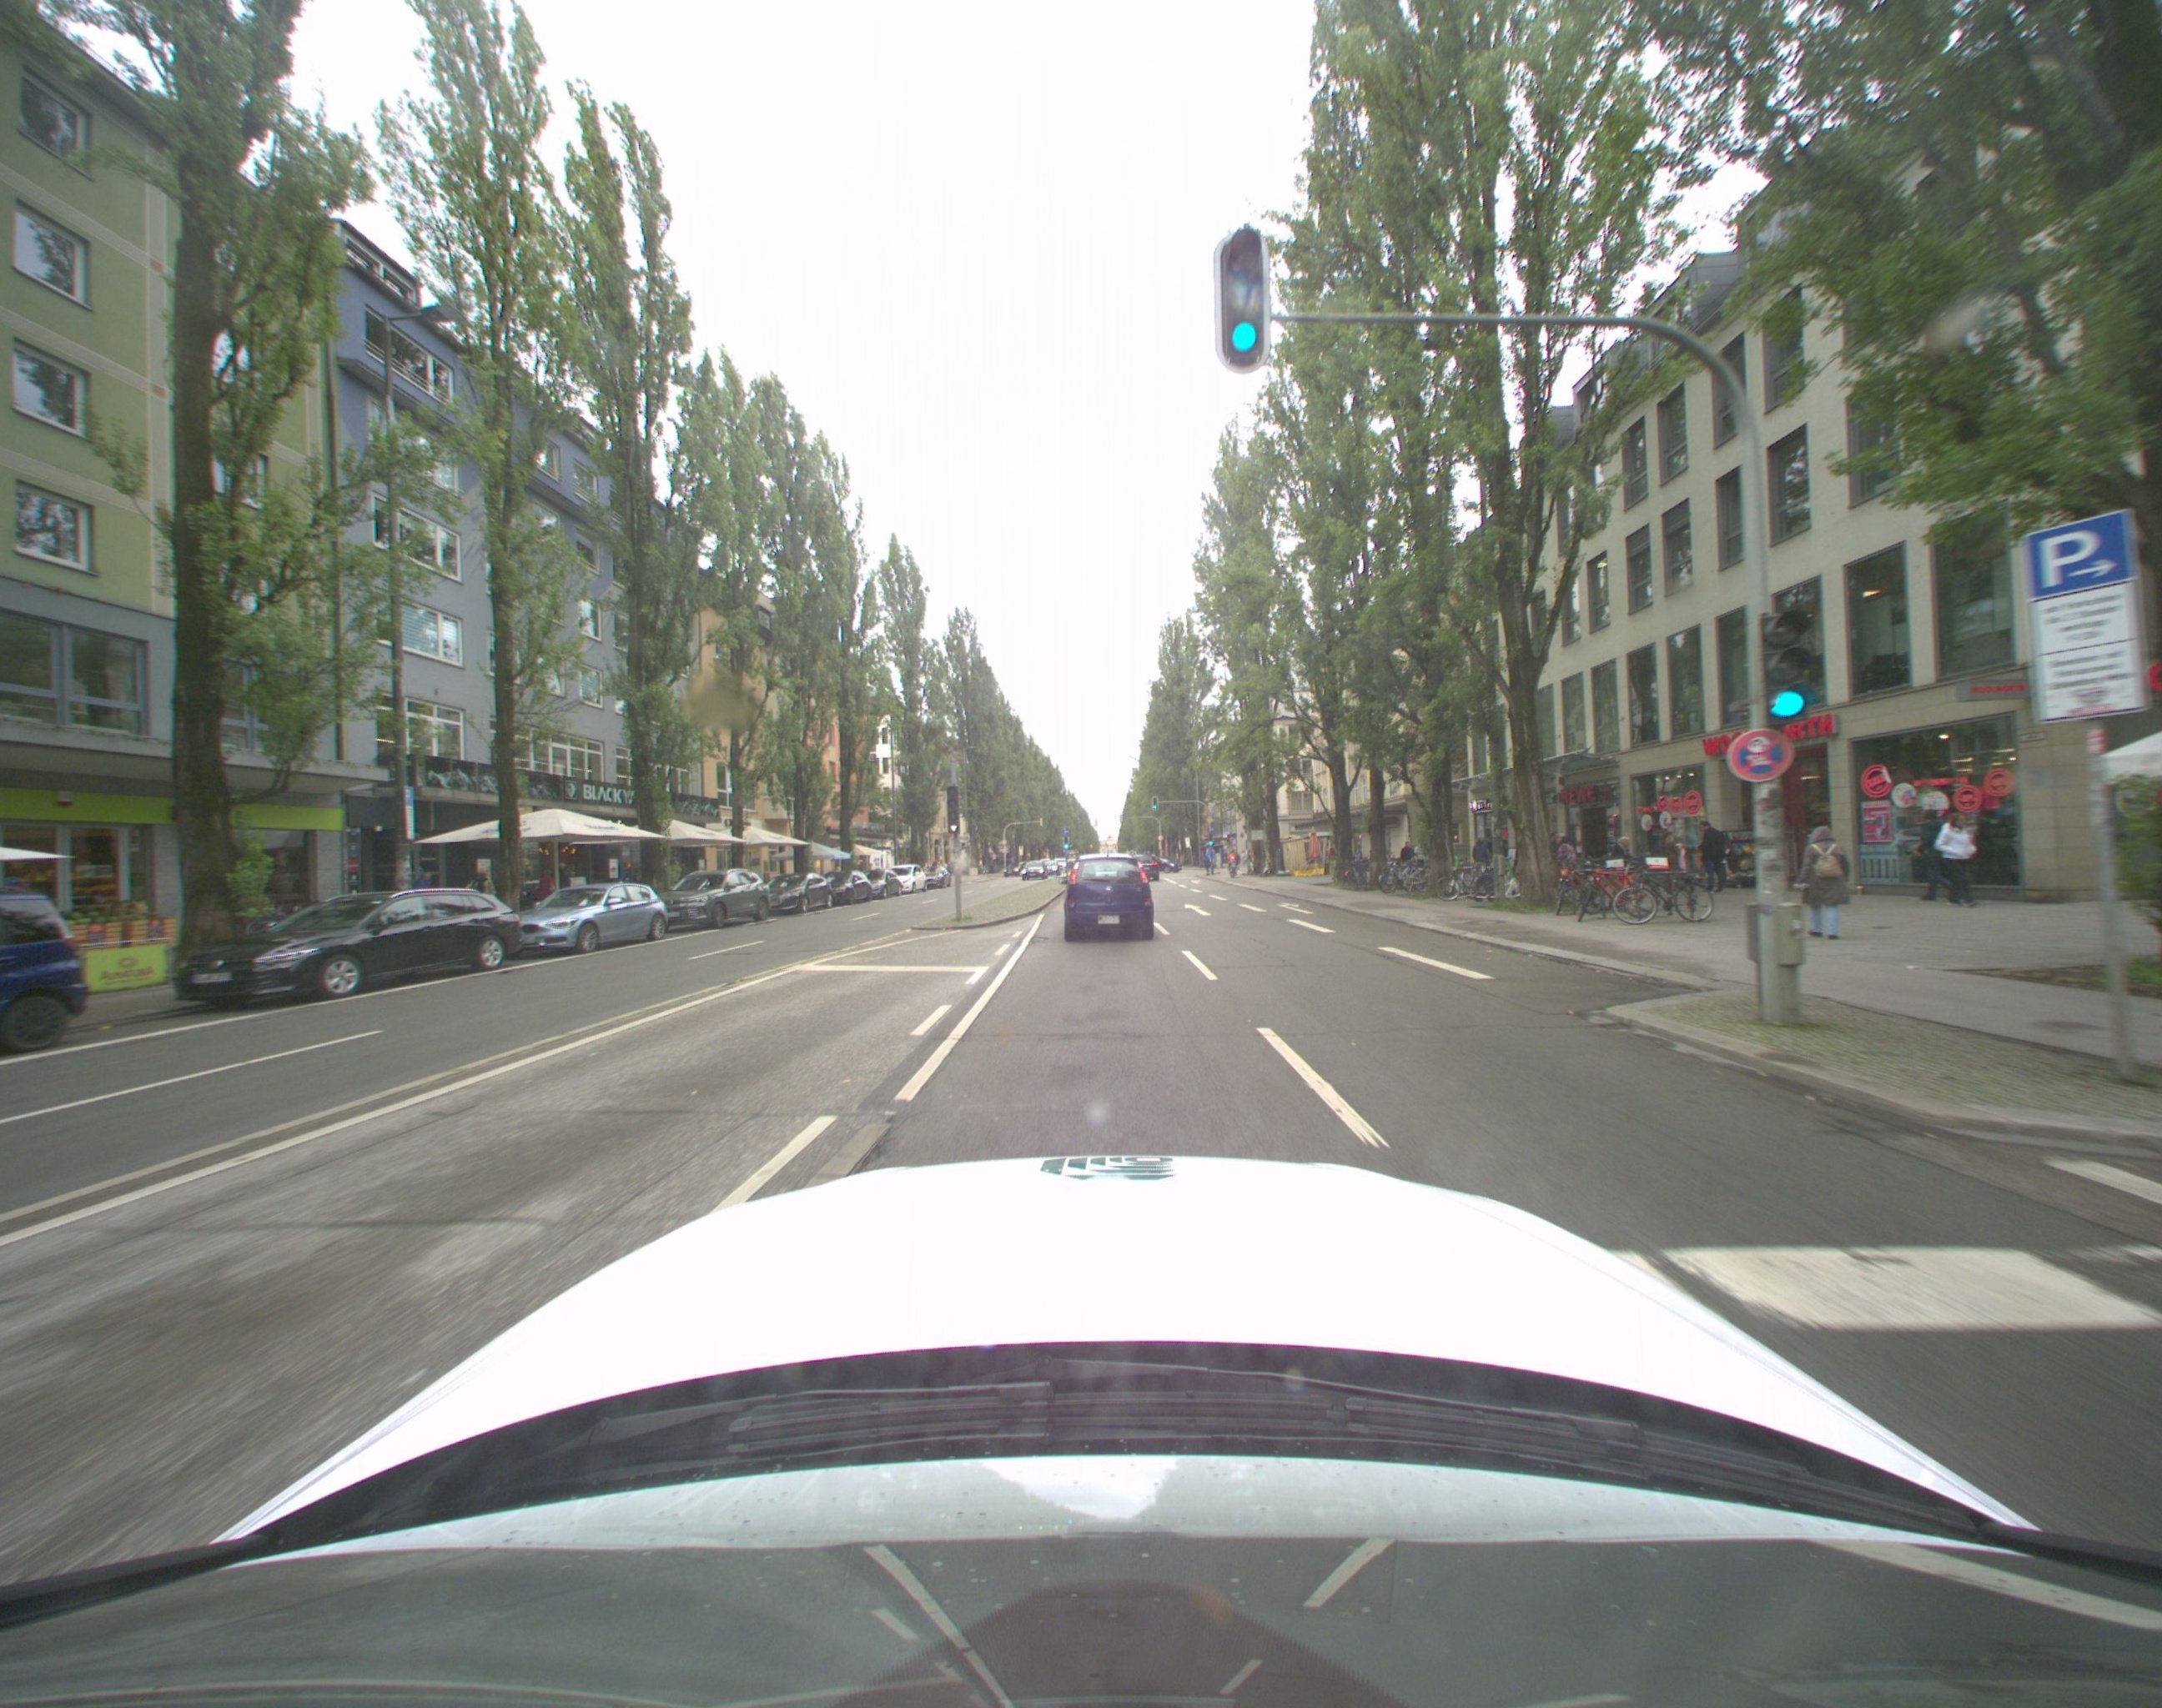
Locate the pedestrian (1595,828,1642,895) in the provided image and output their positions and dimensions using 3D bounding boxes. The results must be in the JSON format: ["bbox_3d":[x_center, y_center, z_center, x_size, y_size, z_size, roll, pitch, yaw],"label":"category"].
[{"bbox_3d":[14.052,0.192,21.307,0.751,1.686,0.677,-3,-1,10],"label":"pedestrian"}]

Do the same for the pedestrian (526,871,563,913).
[{"bbox_3d":[-18.406,1.283,27.945,0.763,1.410,0.799,0,-1,-3],"label":"pedestrian"}]

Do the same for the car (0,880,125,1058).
[{"bbox_3d":[-11.531,1.198,7.093,1.704,1.721,3.920,-4,0,-1],"label":"car"}]

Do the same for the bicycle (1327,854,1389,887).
[{"bbox_3d":[11.207,0.660,32.979,2.220,1.204,0.626,-3,-1,0],"label":"bicycle"}]

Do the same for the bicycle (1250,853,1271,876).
[{"bbox_3d":[11.061,0.661,50.142,0.769,1.349,2.450,-2,0,2],"label":"bicycle"}]

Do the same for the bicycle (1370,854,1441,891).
[{"bbox_3d":[11.412,0.644,28.679,2.220,1.204,0.626,-3,-1,0],"label":"bicycle"}]

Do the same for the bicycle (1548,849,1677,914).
[{"bbox_3d":[10.932,0.559,16.785,2.220,1.204,0.626,-3,-1,0],"label":"bicycle"}]

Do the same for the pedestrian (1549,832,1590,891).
[{"bbox_3d":[15.562,0.244,25.951,0.719,1.827,0.885,0,-1,-8],"label":"pedestrian"}]

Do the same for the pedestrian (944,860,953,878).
[{"bbox_3d":[-13.096,1.512,80.464,0.768,1.766,0.881,-2,-1,-14],"label":"pedestrian"}]

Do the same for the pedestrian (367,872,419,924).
[{"bbox_3d":[-19.470,1.231,23.064,0.763,1.410,0.799,0,-1,-3],"label":"pedestrian"}]

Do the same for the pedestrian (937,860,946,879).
[{"bbox_3d":[-13.225,1.510,77.304,0.767,1.766,0.882,-2,-1,-10],"label":"pedestrian"}]

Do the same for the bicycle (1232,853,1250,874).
[{"bbox_3d":[10.939,0.626,55.624,0.769,1.349,2.450,-2,0,2],"label":"bicycle"}]

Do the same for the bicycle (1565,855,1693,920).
[{"bbox_3d":[10.417,0.627,15.518,1.989,1.133,0.626,-3,-1,0],"label":"bicycle"}]

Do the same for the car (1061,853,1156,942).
[{"bbox_3d":[0.563,0.784,16.556,1.665,1.568,4.002,-1,0,2],"label":"car"}]

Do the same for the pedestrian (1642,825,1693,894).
[{"bbox_3d":[14.940,0.137,20.754,0.752,1.686,0.676,-3,-1,7],"label":"pedestrian"}]

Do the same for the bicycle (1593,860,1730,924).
[{"bbox_3d":[10.388,0.667,14.607,1.989,1.033,0.626,-3,-1,0],"label":"bicycle"}]

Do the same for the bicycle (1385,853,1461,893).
[{"bbox_3d":[11.343,0.625,27.073,2.220,1.204,0.626,-3,-1,0],"label":"bicycle"}]

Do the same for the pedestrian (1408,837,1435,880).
[{"bbox_3d":[14.901,0.206,35.620,0.719,1.827,0.885,0,-1,-8],"label":"pedestrian"}]

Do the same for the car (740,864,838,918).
[{"bbox_3d":[-10.481,1.290,29.592,1.859,1.665,4.122,-4,0,2],"label":"car"}]

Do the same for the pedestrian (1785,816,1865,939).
[{"bbox_3d":[10.659,0.326,11.666,0.749,1.686,0.755,-4,-2,44],"label":"pedestrian"}]

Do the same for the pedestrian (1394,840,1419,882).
[{"bbox_3d":[14.184,0.310,35.451,0.636,1.827,0.885,0,-1,-8],"label":"pedestrian"}]

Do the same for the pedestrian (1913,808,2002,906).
[{"bbox_3d":[15.679,0.054,14.589,0.751,1.686,0.677,-3,-1,10],"label":"pedestrian"}]

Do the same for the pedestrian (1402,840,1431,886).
[{"bbox_3d":[13.509,0.346,32.796,0.719,1.827,0.885,0,-1,-8],"label":"pedestrian"}]

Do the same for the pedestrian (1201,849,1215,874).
[{"bbox_3d":[9.473,0.555,60.906,0.880,1.766,0.769,-2,-1,-1],"label":"pedestrian"}]

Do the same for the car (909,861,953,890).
[{"bbox_3d":[-9.680,1.346,52.777,1.859,1.665,4.122,-4,0,2],"label":"car"}]

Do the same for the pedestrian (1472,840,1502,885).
[{"bbox_3d":[16.724,0.331,33.553,0.719,1.827,0.885,0,-1,-8],"label":"pedestrian"}]

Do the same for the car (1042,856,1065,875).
[{"bbox_3d":[-2.576,1.049,77.102,1.859,1.665,4.122,-2,0,2],"label":"car"}]

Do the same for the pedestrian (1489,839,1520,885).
[{"bbox_3d":[17.002,0.318,32.695,0.719,1.827,0.885,0,-1,-8],"label":"pedestrian"}]

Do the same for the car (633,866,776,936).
[{"bbox_3d":[-10.703,1.281,23.579,1.859,1.665,4.402,-4,0,2],"label":"car"}]

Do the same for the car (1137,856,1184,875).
[{"bbox_3d":[7.271,1.012,74.348,3.959,1.622,1.909,-1,0,13],"label":"car"}]

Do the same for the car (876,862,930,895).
[{"bbox_3d":[-9.898,1.330,45.635,1.859,1.665,4.122,-4,0,2],"label":"car"}]

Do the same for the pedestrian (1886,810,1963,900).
[{"bbox_3d":[16.421,0.015,15.862,0.757,1.686,0.672,-2,-1,-14],"label":"pedestrian"}]

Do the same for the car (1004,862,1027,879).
[{"bbox_3d":[-6.674,1.685,83.777,1.859,1.665,4.122,-2,0,2],"label":"car"}]

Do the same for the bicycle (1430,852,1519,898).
[{"bbox_3d":[11.382,0.598,23.583,2.220,1.204,0.626,-3,-1,0],"label":"bicycle"}]

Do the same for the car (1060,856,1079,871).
[{"bbox_3d":[-1.282,1.055,93.524,1.859,1.665,4.122,-2,0,2],"label":"car"}]

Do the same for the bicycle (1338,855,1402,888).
[{"bbox_3d":[11.185,0.673,31.600,2.220,1.204,0.626,-3,-1,0],"label":"bicycle"}]

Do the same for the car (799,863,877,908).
[{"bbox_3d":[-10.344,1.296,34.997,1.859,1.665,4.122,-4,0,2],"label":"car"}]

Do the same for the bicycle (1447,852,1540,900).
[{"bbox_3d":[11.378,0.594,22.499,2.220,1.204,0.626,-3,-1,0],"label":"bicycle"}]

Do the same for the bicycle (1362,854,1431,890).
[{"bbox_3d":[11.410,0.655,29.475,2.220,1.204,0.626,-3,-1,0],"label":"bicycle"}]

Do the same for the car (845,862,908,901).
[{"bbox_3d":[-10.053,1.311,40.306,1.859,1.665,4.122,-4,0,2],"label":"car"}]

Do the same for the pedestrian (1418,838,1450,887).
[{"bbox_3d":[13.322,0.322,30.751,0.719,1.827,0.885,0,-1,-8],"label":"pedestrian"}]

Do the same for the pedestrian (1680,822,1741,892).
[{"bbox_3d":[15.808,0.078,20.485,0.793,1.677,0.879,-3,-1,7],"label":"pedestrian"}]

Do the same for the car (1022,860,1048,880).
[{"bbox_3d":[-3.543,1.239,63.273,1.728,1.465,3.367,-2,0,2],"label":"car"}]

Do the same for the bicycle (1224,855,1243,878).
[{"bbox_3d":[9.555,0.763,51.213,0.769,1.349,2.450,-2,0,2],"label":"bicycle"}]

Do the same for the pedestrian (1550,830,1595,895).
[{"bbox_3d":[13.237,0.235,21.949,0.671,1.686,0.758,-3,-1,-2],"label":"pedestrian"}]

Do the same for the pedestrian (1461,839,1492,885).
[{"bbox_3d":[15.926,0.327,32.810,0.719,1.827,0.885,0,-1,-8],"label":"pedestrian"}]

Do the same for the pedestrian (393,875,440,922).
[{"bbox_3d":[-20.526,1.370,25.165,0.792,1.410,0.770,-1,-1,14],"label":"pedestrian"}]

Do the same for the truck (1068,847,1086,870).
[{"bbox_3d":[-0.651,0.687,126.316,2.374,3.347,7.114,-2,0,2],"label":"truck"}]

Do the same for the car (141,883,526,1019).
[{"bbox_3d":[-11.101,1.325,12.653,1.792,1.489,4.352,-4,0,2],"label":"car"}]

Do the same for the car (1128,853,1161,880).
[{"bbox_3d":[4.029,0.753,52.239,1.889,1.622,4.002,-1,0,2],"label":"car"}]

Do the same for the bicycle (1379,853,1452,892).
[{"bbox_3d":[11.433,0.632,27.880,2.220,1.204,0.626,-3,-1,0],"label":"bicycle"}]

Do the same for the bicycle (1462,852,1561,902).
[{"bbox_3d":[11.296,0.590,21.388,2.220,1.204,0.626,-3,-1,0],"label":"bicycle"}]

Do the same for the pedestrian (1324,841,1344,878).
[{"bbox_3d":[12.615,0.294,40.605,0.636,1.827,0.885,0,-1,-8],"label":"pedestrian"}]

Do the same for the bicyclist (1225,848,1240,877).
[{"bbox_3d":[9.545,0.547,51.246,0.764,1.766,0.885,-2,-1,1],"label":"bicyclist"}]

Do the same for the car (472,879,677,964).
[{"bbox_3d":[-10.882,1.379,17.899,1.727,1.425,4.145,-4,0,2],"label":"car"}]

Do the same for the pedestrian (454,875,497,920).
[{"bbox_3d":[-19.375,1.373,26.075,0.792,1.410,0.770,-1,-1,14],"label":"pedestrian"}]
